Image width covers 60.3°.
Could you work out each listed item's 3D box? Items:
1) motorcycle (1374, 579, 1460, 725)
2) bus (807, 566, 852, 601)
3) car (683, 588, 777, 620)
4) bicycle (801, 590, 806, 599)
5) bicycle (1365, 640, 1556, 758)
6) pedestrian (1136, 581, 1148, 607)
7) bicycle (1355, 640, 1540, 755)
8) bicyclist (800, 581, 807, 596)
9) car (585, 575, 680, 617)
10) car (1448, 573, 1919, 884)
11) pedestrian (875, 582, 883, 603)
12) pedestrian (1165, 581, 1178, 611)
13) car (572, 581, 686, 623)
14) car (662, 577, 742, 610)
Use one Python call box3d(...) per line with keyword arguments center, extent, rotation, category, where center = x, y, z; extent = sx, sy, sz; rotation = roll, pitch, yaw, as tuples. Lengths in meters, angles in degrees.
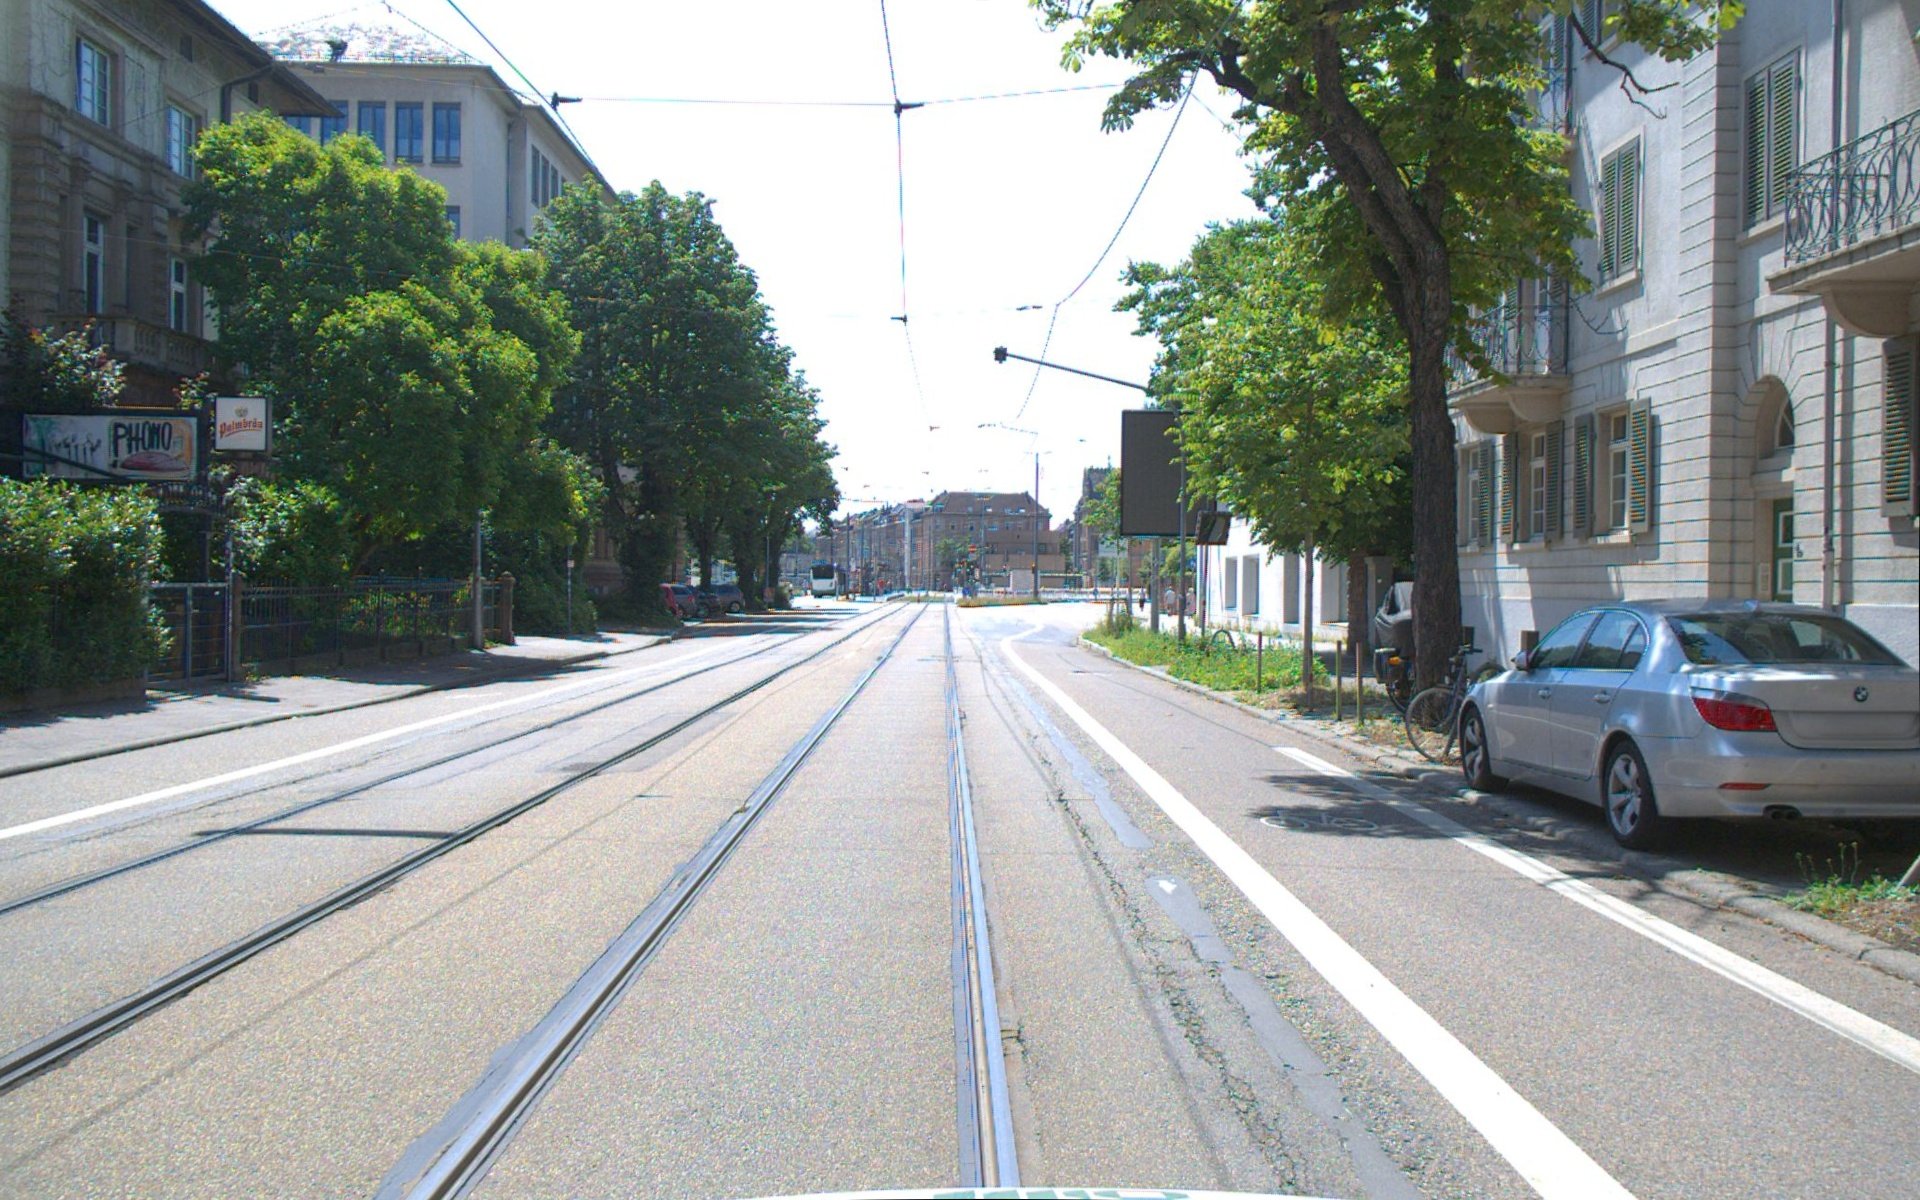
box3d(center=(5.156, 0.532, 18.779), extent=(0.729, 1.532, 2.561), rotation=(0, 1, 11), category="motorcycle")
box3d(center=(-12.792, -1.605, 163.753), extent=(2.948, 3.213, 17.498), rotation=(1, 0, 0), category="bus")
box3d(center=(-10.361, 0.152, 74.483), extent=(3.873, 1.398, 1.655), rotation=(0, 1, -27), category="car")
box3d(center=(-17.764, -0.629, 187.612), extent=(0.493, 0.930, 2.370), rotation=(0, 1, -2), category="bicycle")
box3d(center=(4.566, 0.899, 15.124), extent=(1.624, 1.033, 0.371), rotation=(1, 0, 0), category="bicycle")
box3d(center=(12.861, -0.416, 116.686), extent=(0.797, 1.839, 0.700), rotation=(0, 0, 4), category="pedestrian")
box3d(center=(4.576, 0.912, 15.560), extent=(1.624, 1.033, 0.371), rotation=(1, 0, 0), category="bicycle")
box3d(center=(-17.751, -1.301, 187.580), extent=(0.804, 1.739, 0.770), rotation=(0, 0, -2), category="bicyclist")
box3d(center=(-12.744, -0.153, 64.414), extent=(3.301, 1.542, 1.655), rotation=(1, 0, -27), category="car")
box3d(center=(4.898, 0.699, 11.047), extent=(1.821, 1.605, 4.877), rotation=(1, -1, 0), category="car")
box3d(center=(-7.505, -0.739, 153.140), extent=(0.660, 1.943, 0.639), rotation=(0, 0, -10), category="pedestrian")
box3d(center=(11.813, -0.240, 92.364), extent=(0.646, 1.676, 0.625), rotation=(0, 0, 5), category="pedestrian")
box3d(center=(-13.444, 0.079, 67.213), extent=(4.262, 1.612, 1.653), rotation=(2, 0, -30), category="car")
box3d(center=(-13.058, -0.330, 83.764), extent=(3.624, 1.546, 1.653), rotation=(2, 0, -29), category="car")
